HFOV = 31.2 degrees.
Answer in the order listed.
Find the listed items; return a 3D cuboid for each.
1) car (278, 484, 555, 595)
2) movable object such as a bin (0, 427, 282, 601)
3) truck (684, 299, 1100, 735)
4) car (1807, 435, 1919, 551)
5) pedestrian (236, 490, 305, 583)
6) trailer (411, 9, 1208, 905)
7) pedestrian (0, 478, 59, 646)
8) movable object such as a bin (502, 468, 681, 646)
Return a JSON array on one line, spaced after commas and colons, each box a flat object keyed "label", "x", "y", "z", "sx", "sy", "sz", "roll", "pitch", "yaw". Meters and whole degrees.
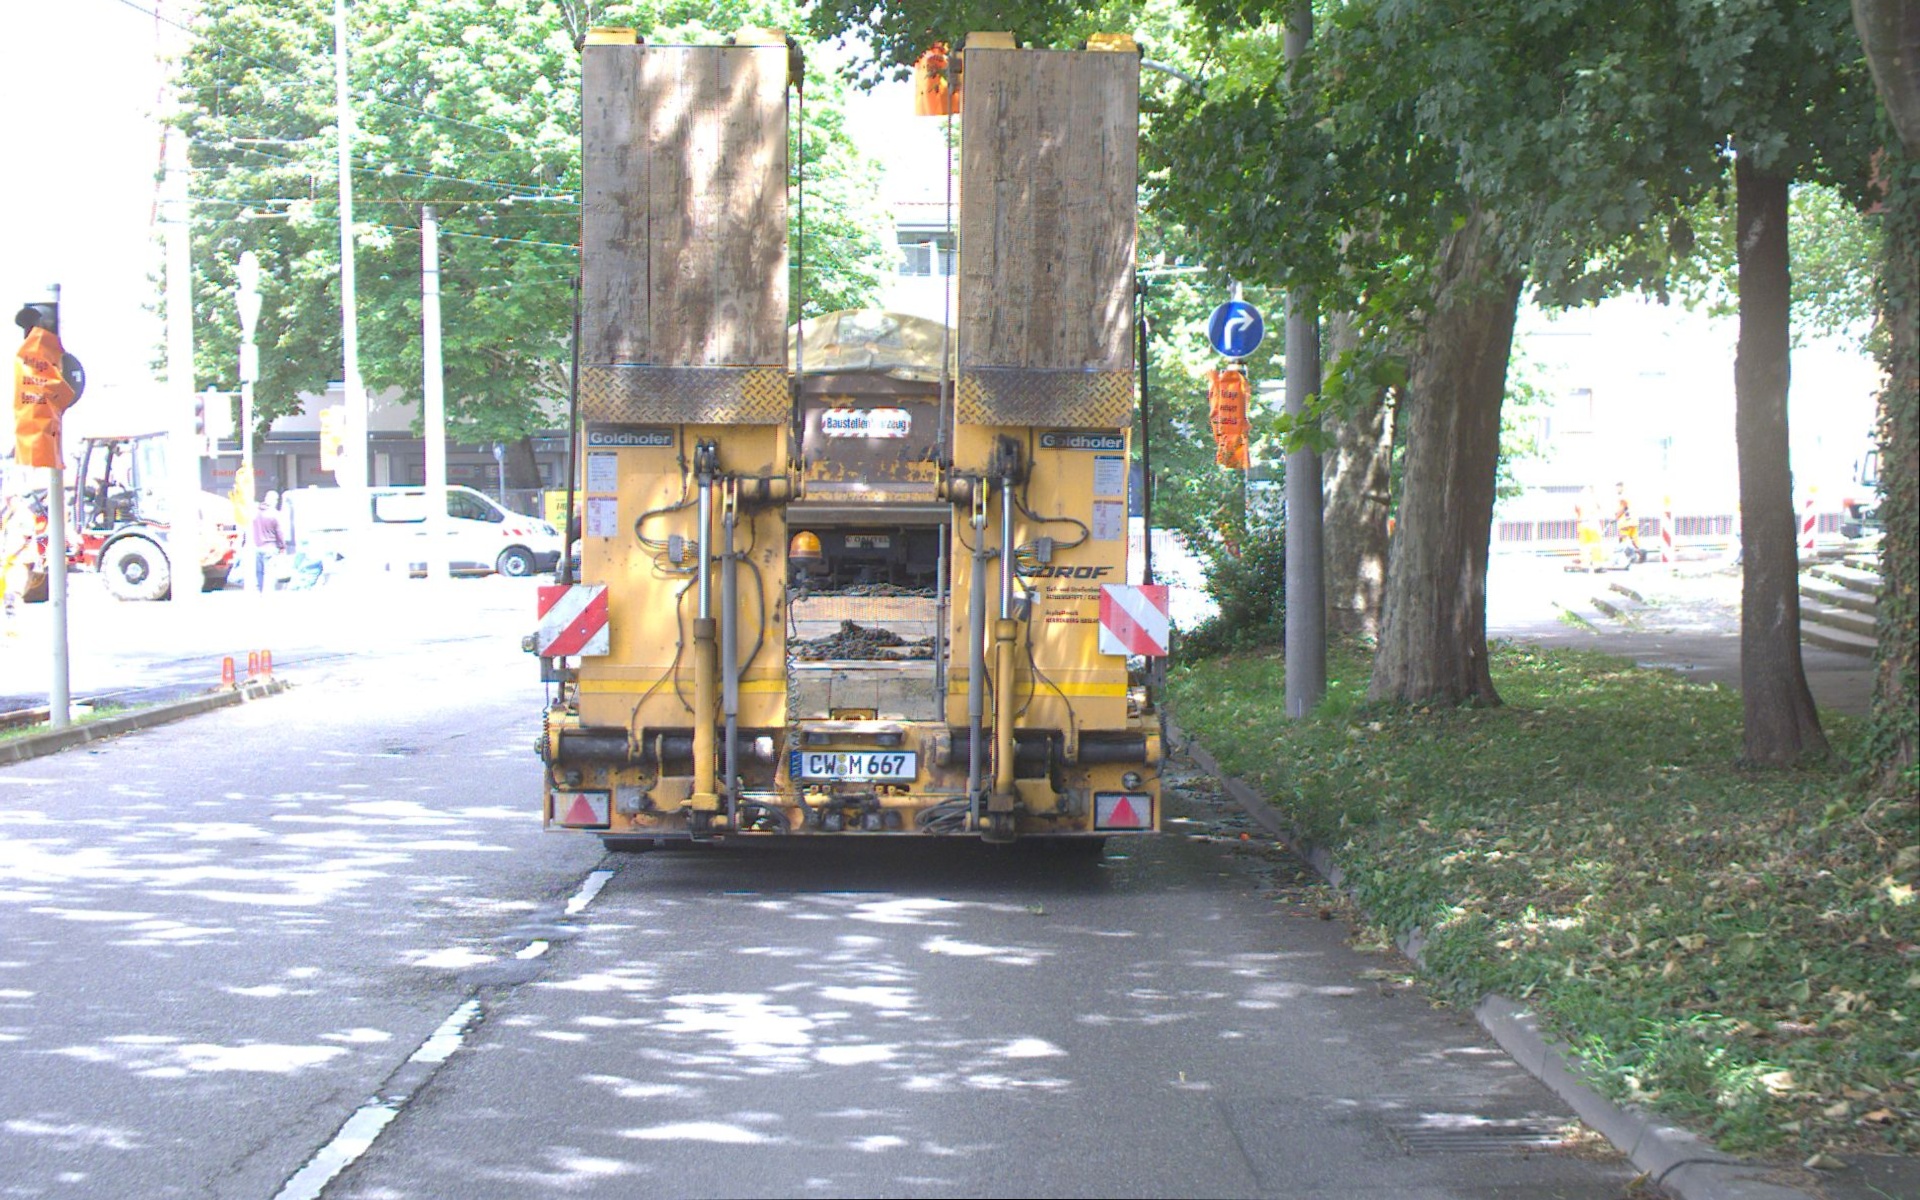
[{"label": "car", "x": -10.465, "y": -1.163, "z": 66.115, "sx": 5.088, "sy": 2.095, "sz": 1.977, "roll": 0, "pitch": 1, "yaw": -14}, {"label": "movable object such as a bin", "x": -13.069, "y": -1.340, "z": 53.790, "sx": 4.373, "sy": 2.620, "sz": 2.217, "roll": 1, "pitch": 1, "yaw": 26}, {"label": "truck", "x": -0.401, "y": -0.678, "z": 28.713, "sx": 2.989, "sy": 3.124, "sz": 7.888, "roll": 0, "pitch": 1, "yaw": 1}, {"label": "car", "x": 19.990, "y": -2.203, "z": 71.452, "sx": 4.239, "sy": 2.357, "sz": 2.159, "roll": -1, "pitch": 1, "yaw": -28}, {"label": "pedestrian", "x": -10.455, "y": -0.965, "z": 52.135, "sx": 0.916, "sy": 1.404, "sz": 0.753, "roll": 0, "pitch": 1, "yaw": -3}, {"label": "trailer", "x": -0.561, "y": -0.676, "z": 19.189, "sx": 3.154, "sy": 3.540, "sz": 11.097, "roll": 0, "pitch": 1, "yaw": 0}, {"label": "pedestrian", "x": -10.730, "y": -0.431, "z": 38.554, "sx": 0.887, "sy": 1.860, "sz": 0.836, "roll": 1, "pitch": 1, "yaw": 29}, {"label": "movable object such as a bin", "x": -4.276, "y": -0.515, "z": 40.121, "sx": 1.399, "sy": 2.007, "sz": 2.555, "roll": 1, "pitch": 1, "yaw": 11}]
